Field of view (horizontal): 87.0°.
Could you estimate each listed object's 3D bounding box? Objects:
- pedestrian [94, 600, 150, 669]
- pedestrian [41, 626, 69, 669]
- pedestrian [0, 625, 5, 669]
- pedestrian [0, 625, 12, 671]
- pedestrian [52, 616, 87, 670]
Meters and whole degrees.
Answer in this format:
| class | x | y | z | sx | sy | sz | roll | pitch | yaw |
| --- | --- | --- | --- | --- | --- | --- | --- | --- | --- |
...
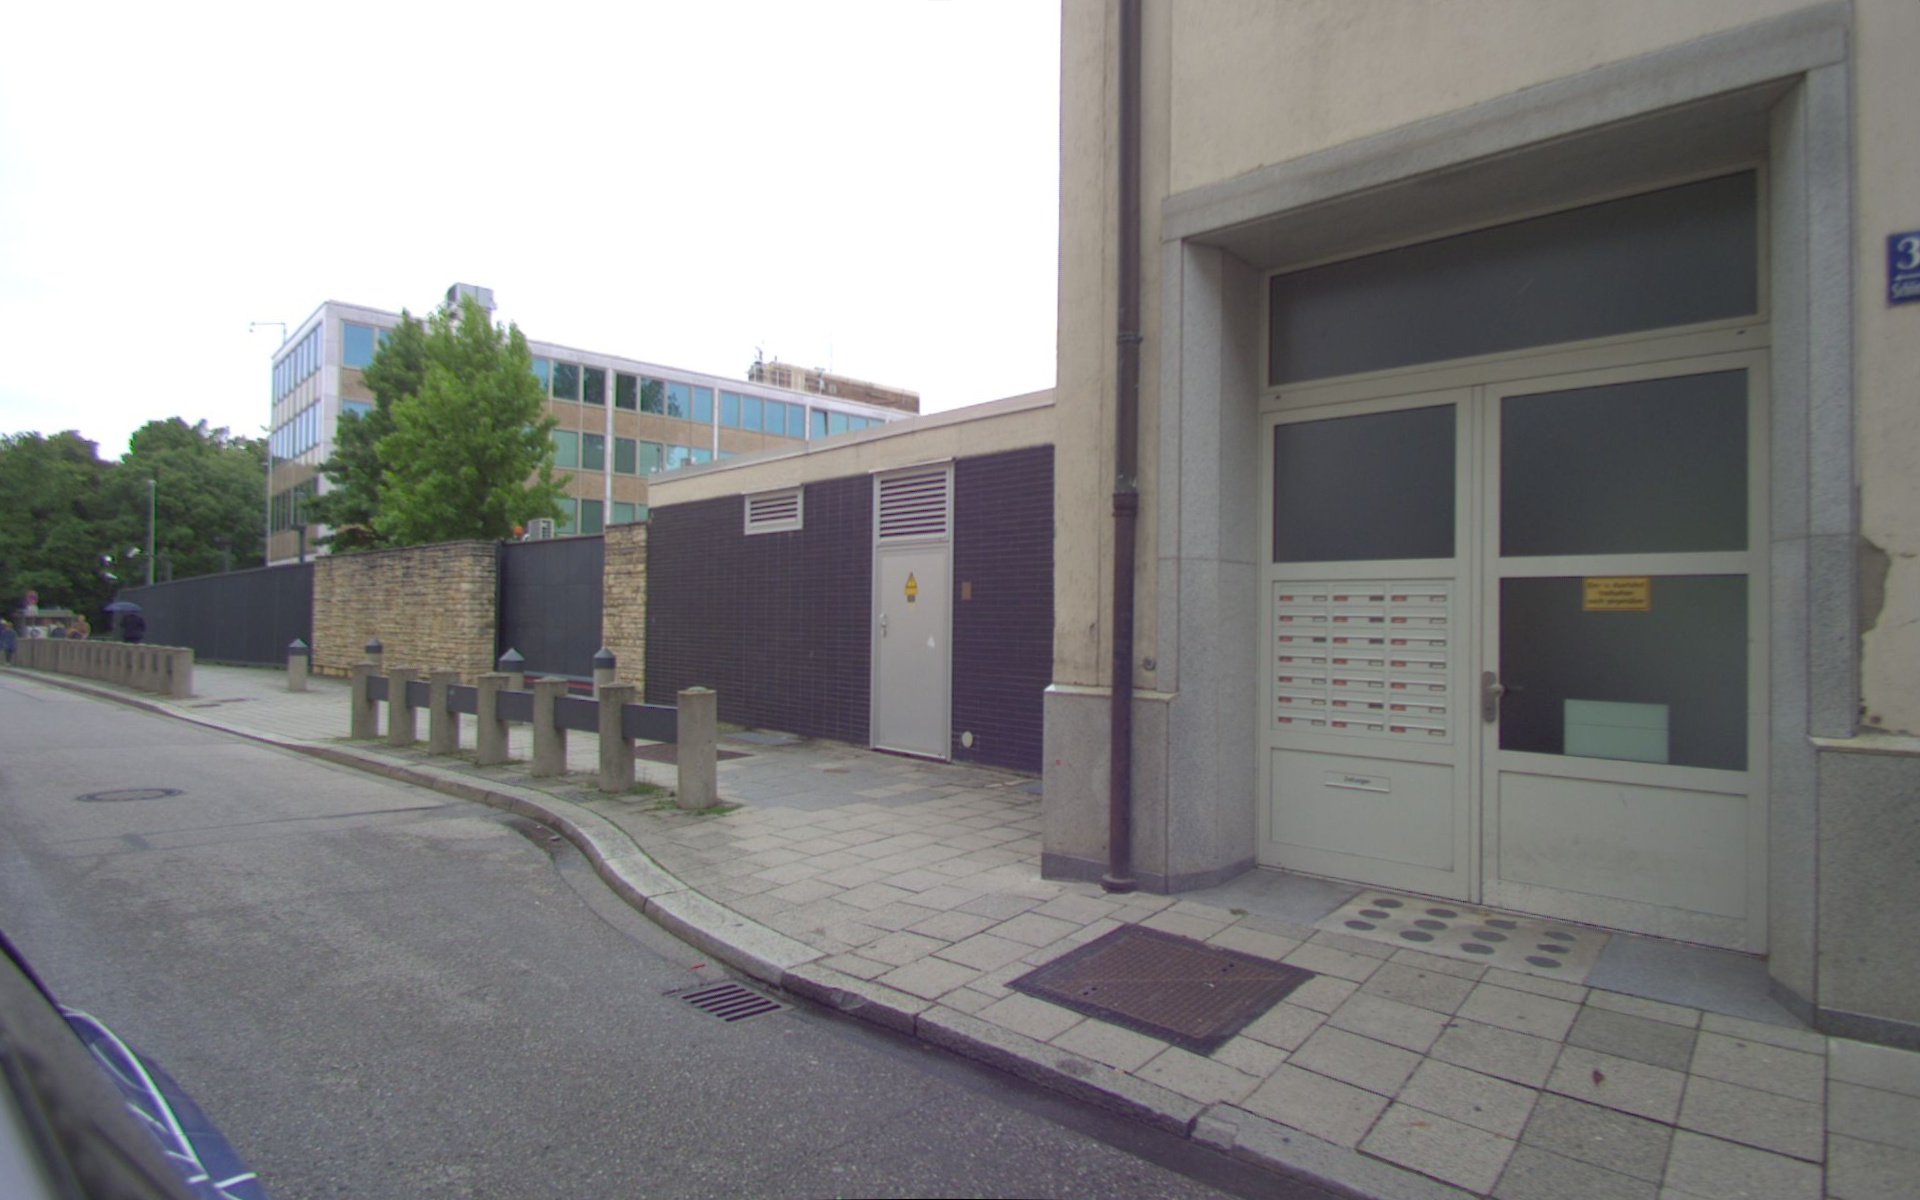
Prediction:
| class | x | y | z | sx | sy | sz | roll | pitch | yaw |
| --- | --- | --- | --- | --- | --- | --- | --- | --- | --- |
| pedestrian | -26.630 | 1.107 | 32.161 | 1.116 | 2.120 | 1.209 | -2 | -3 | 43 |
| pedestrian | -33.954 | 1.773 | 37.987 | 0.767 | 1.551 | 0.934 | -1 | -1 | -41 |
| pedestrian | -39.246 | 1.908 | 41.070 | 0.766 | 1.782 | 0.617 | -2 | -3 | 41 |
| pedestrian | -30.983 | 1.551 | 32.546 | 1.078 | 1.478 | 0.631 | -2 | -1 | 42 |
| pedestrian | -29.583 | 1.429 | 33.613 | 0.814 | 1.736 | 0.906 | 0 | -1 | -44 |
